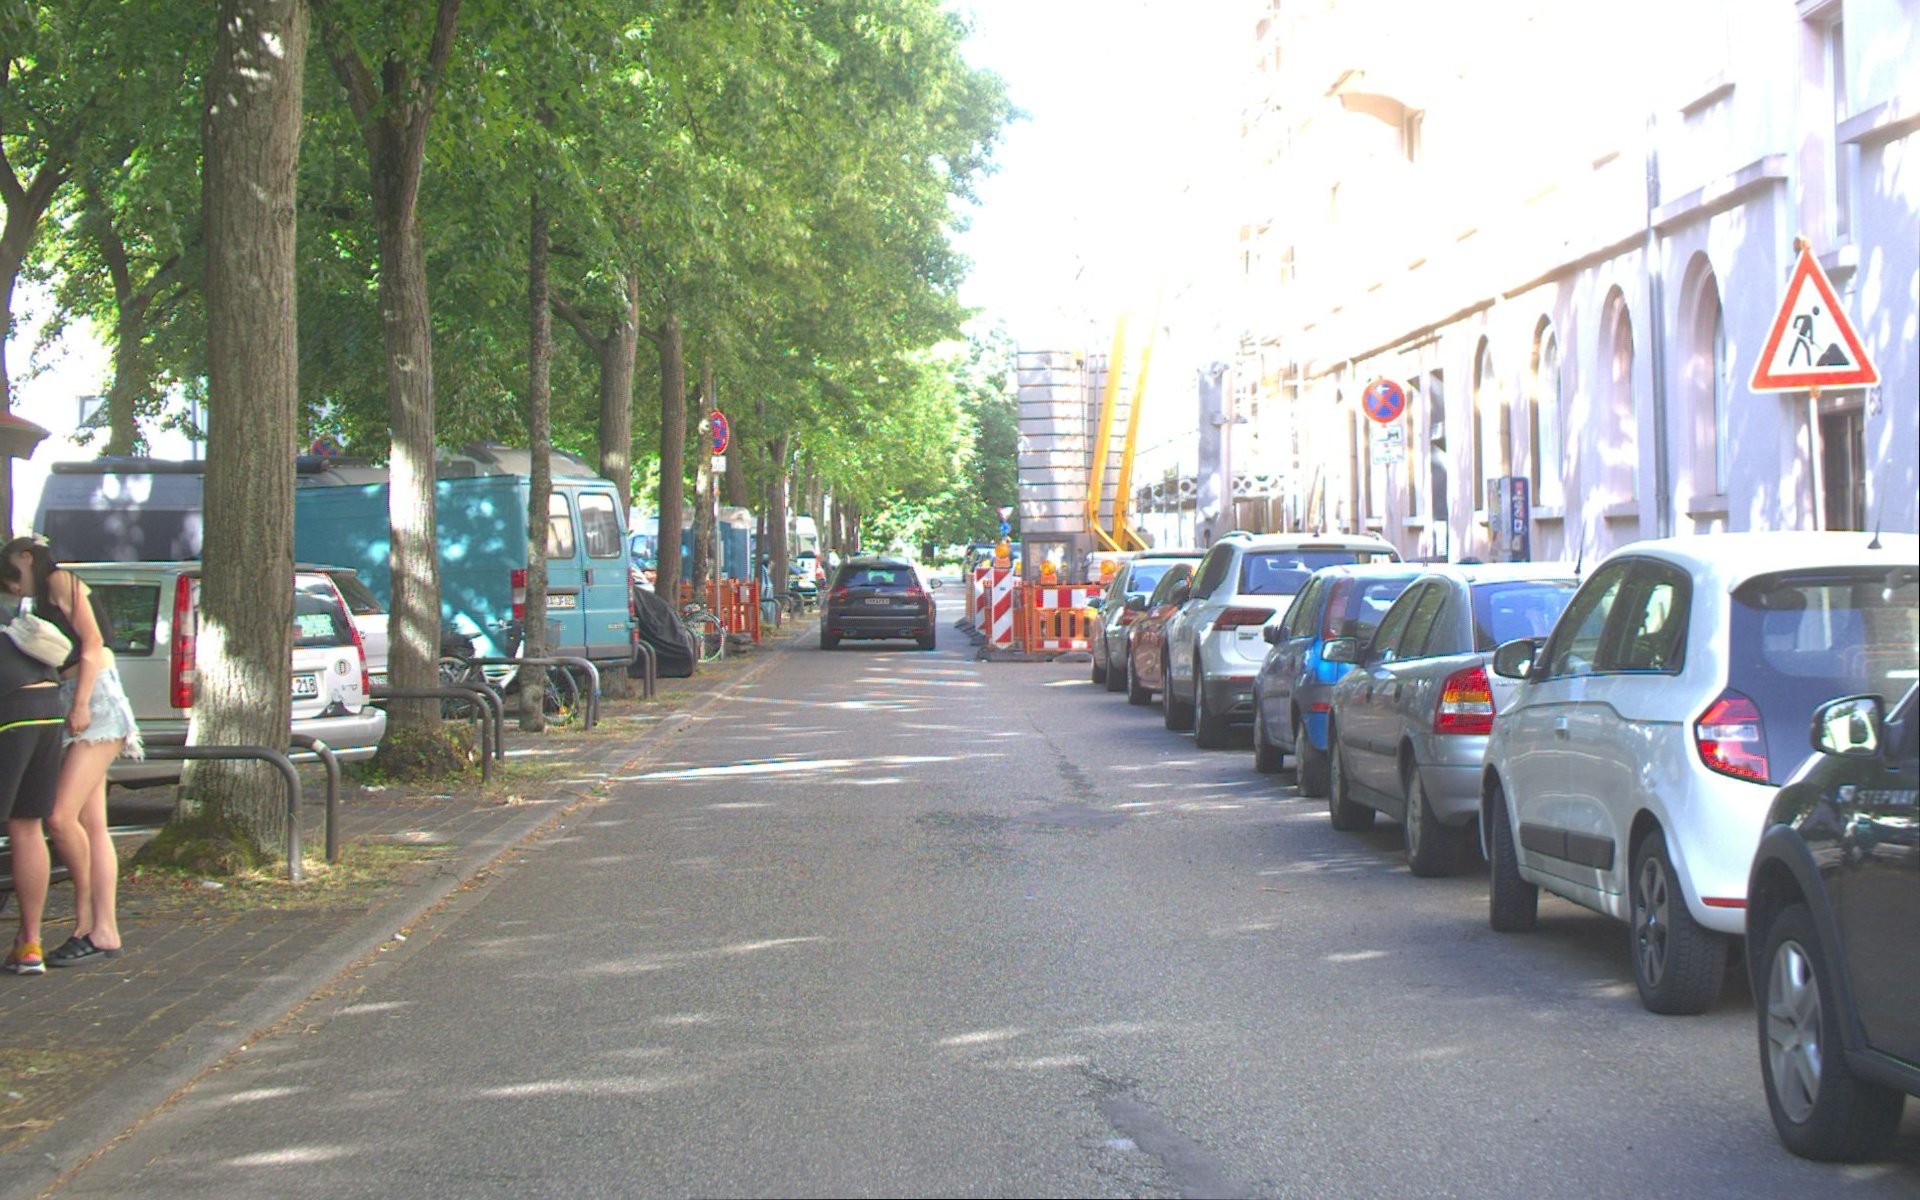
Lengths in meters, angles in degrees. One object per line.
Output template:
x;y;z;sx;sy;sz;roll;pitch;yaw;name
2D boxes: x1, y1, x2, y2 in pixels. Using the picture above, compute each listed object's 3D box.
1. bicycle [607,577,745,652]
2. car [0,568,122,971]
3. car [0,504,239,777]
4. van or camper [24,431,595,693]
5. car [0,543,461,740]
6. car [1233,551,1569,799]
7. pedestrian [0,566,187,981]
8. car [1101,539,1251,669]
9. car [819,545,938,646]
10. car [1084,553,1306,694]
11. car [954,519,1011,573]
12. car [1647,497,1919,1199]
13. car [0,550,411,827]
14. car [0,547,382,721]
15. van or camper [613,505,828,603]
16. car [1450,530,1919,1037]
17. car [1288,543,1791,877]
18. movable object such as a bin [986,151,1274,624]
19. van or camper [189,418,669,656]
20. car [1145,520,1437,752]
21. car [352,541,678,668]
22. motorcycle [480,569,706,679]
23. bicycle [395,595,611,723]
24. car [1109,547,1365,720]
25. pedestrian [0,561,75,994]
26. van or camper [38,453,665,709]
-3.914;0.204;47.349;1.899;1.003;0.430;-1;1;23;bicycle
-5.437;0.627;12.992;4.321;1.419;1.673;0;1;26;car
-7.427;0.252;24.134;4.553;1.758;1.807;0;1;30;car
-7.019;-0.380;36.936;5.877;2.628;2.252;-1;1;29;van or camper
-6.121;0.308;27.196;3.949;1.438;1.844;0;1;28;car
2.753;0.414;22.171;1.617;1.408;3.788;-1;1;-1;car
-3.225;0.613;12.442;0.615;1.451;0.519;-1;1;23;pedestrian
2.645;0.023;42.577;1.591;1.525;2.781;-1;1;-2;car
-1.309;-0.100;54.722;1.797;1.498;3.586;-2;1;-2;car
2.510;0.209;37.760;1.993;1.404;4.501;0;1;-2;car
0.780;-1.894;119.279;1.797;1.794;3.586;-2;1;-2;car
2.862;0.564;7.234;1.722;1.591;4.159;-1;1;-4;car
-5.508;0.466;20.099;4.482;1.438;1.729;0;1;32;car
-7.251;0.283;30.460;3.993;1.426;1.719;0;1;30;car
-6.399;-1.224;91.624;5.342;2.466;2.290;-1;1;32;van or camper
2.910;0.526;12.369;1.630;1.529;3.593;-1;1;-2;car
2.724;0.446;17.015;1.630;1.408;4.089;-1;1;-2;car
2.524;-3.048;50.932;3.485;6.736;2.364;0;1;32;movable object such as a bin
-7.757;-0.881;50.033;6.666;3.229;2.492;-1;1;28;van or camper
2.557;0.218;27.598;1.816;1.668;4.674;-1;1;-1;car
-5.964;0.059;46.090;3.958;1.623;1.821;-1;1;25;car
-4.360;0.279;40.898;2.550;1.254;0.763;-1;1;7;motorcycle
-3.850;0.488;29.033;1.719;1.002;0.511;-2;1;-30;bicycle
2.593;0.270;33.060;1.790;1.518;3.965;-1;1;-5;car
-3.538;0.604;11.816;0.710;1.451;0.596;-1;1;23;pedestrian
-5.791;-0.168;32.695;5.504;2.267;2.218;-1;1;23;van or camper
